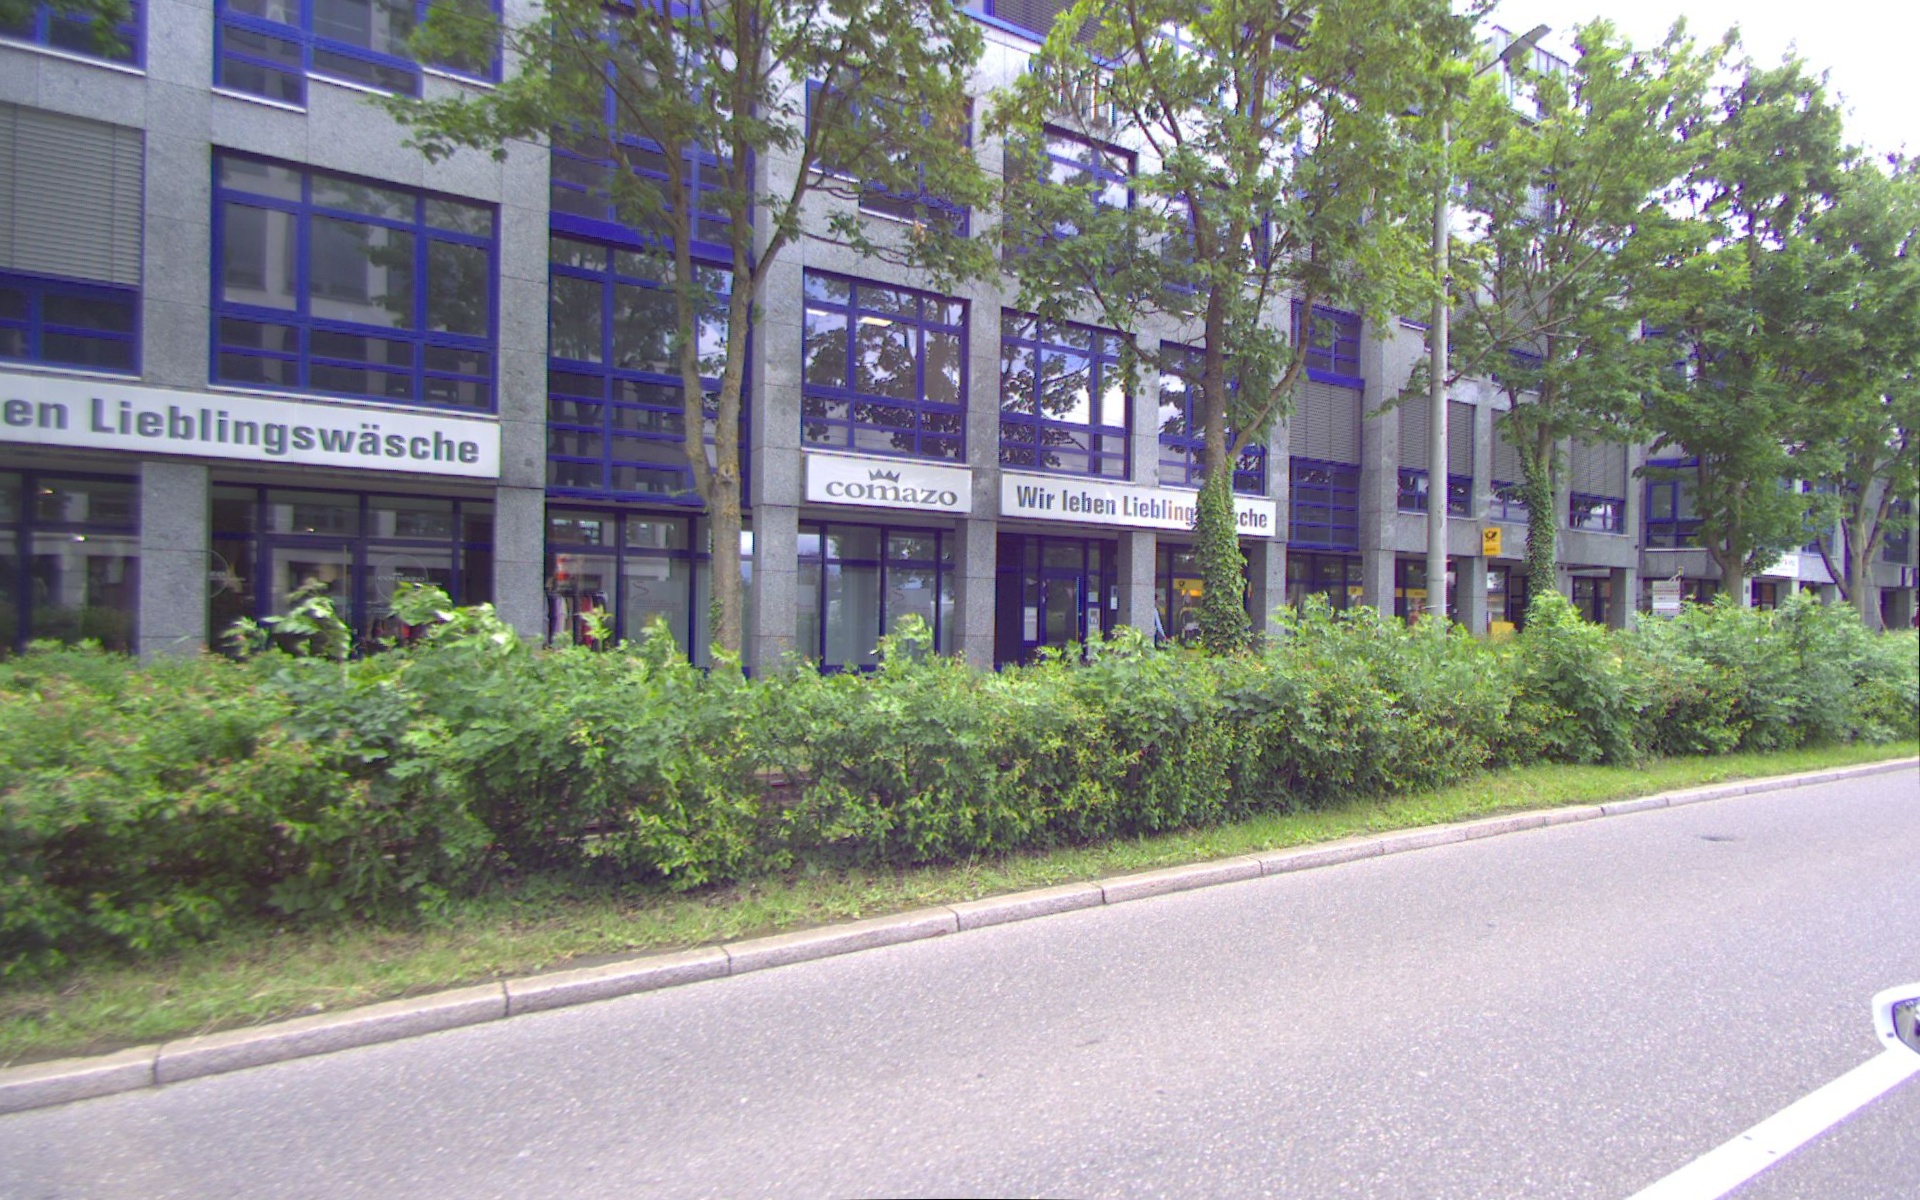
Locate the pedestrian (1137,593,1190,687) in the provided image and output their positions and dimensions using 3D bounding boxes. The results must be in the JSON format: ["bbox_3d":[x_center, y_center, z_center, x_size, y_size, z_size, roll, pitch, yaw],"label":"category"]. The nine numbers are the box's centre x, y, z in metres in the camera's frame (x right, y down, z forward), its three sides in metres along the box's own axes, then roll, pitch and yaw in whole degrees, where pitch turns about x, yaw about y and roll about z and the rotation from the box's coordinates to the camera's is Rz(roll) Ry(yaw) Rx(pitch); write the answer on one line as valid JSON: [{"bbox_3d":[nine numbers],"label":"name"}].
[{"bbox_3d":[4.242,0.823,20.943,0.723,1.919,0.770,2,0,-30],"label":"pedestrian"}]
